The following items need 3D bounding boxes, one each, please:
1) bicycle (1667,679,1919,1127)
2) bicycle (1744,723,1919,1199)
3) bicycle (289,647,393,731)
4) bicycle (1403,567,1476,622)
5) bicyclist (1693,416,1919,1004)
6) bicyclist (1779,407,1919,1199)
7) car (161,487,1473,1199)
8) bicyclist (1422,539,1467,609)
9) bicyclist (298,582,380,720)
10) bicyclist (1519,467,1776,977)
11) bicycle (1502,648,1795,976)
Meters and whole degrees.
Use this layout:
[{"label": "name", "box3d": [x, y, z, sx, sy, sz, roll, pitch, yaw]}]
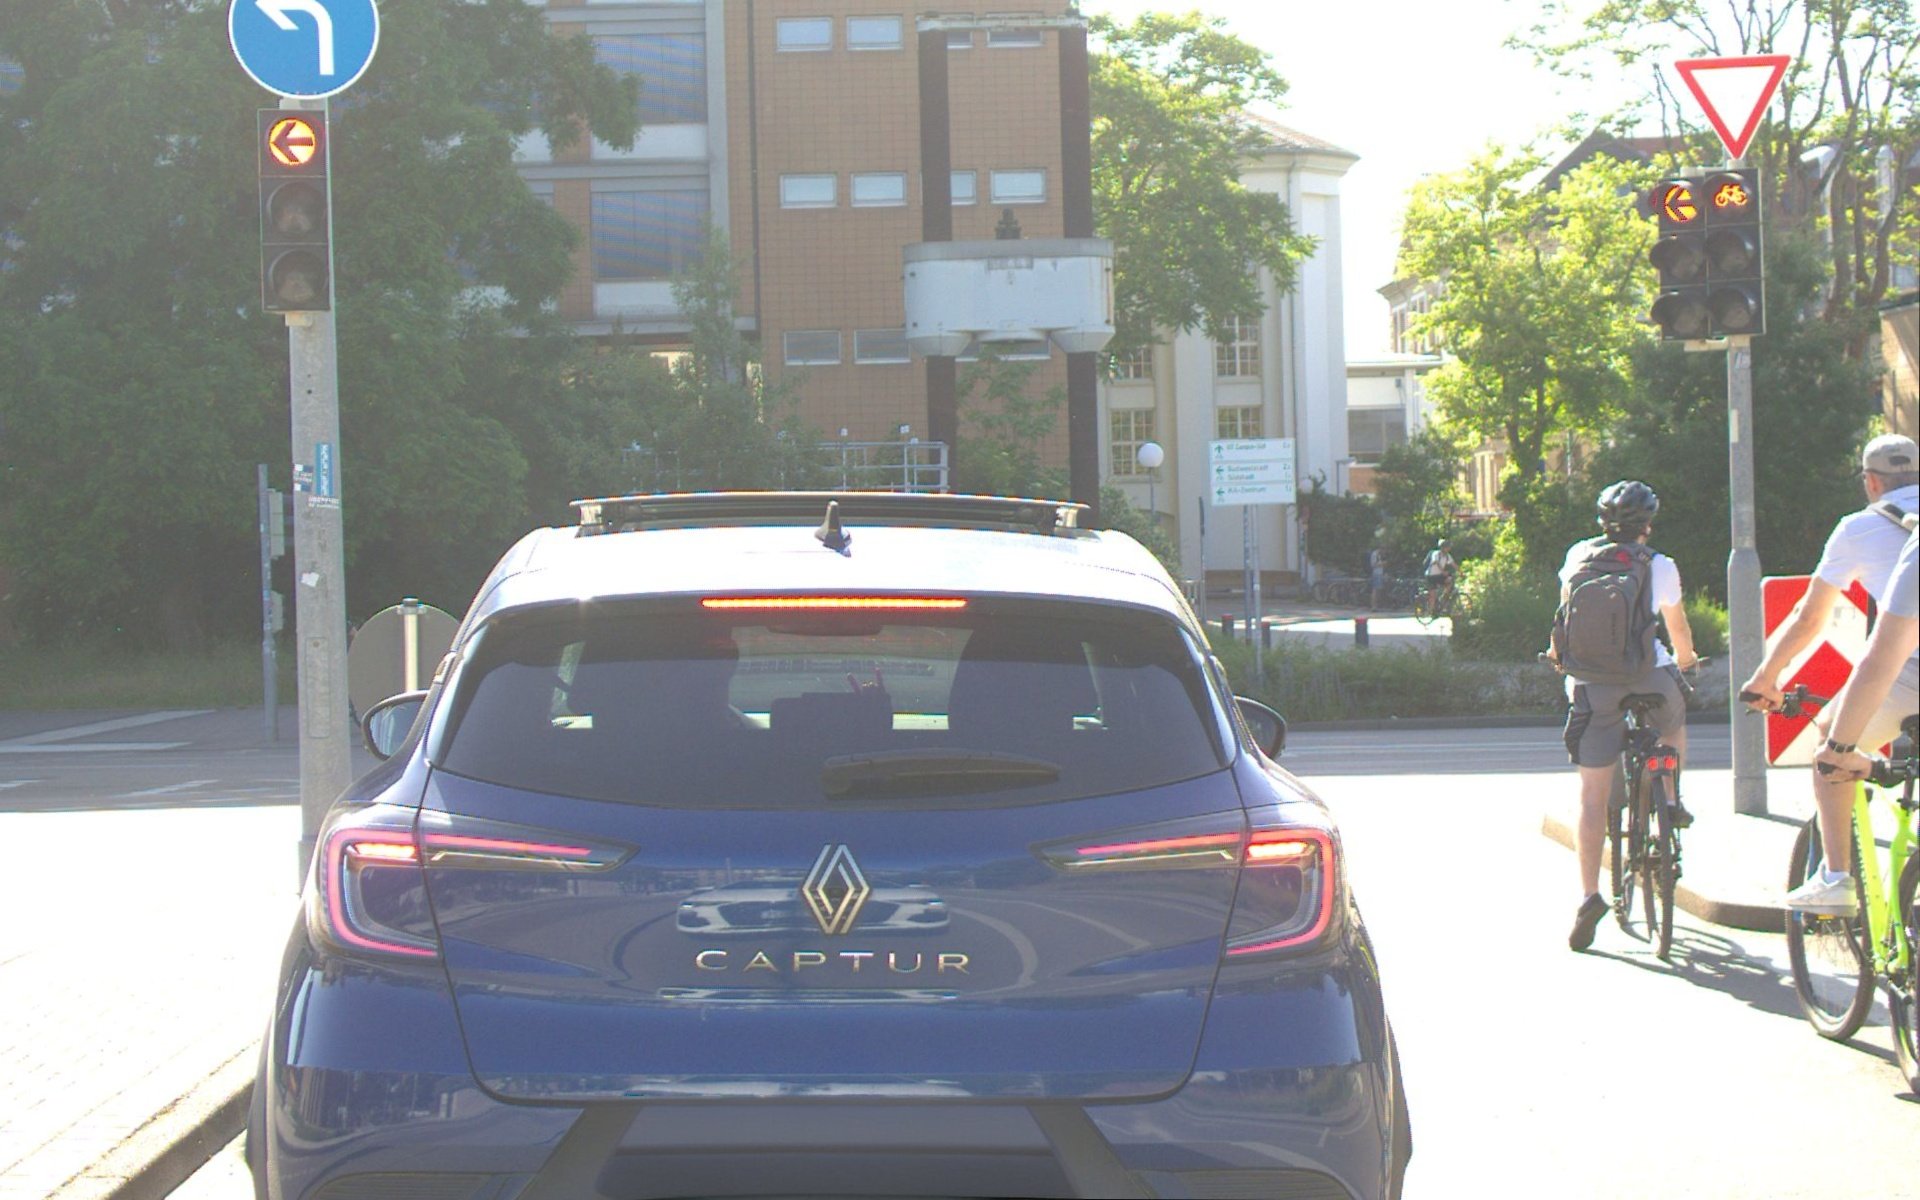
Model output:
[{"label": "bicycle", "box3d": [2.572, 0.802, 9.822, 0.689, 1.085, 1.922, 0, 1, -1]}, {"label": "bicycle", "box3d": [2.233, 0.848, 7.277, 0.689, 1.085, 1.922, 0, 1, -1]}, {"label": "bicycle", "box3d": [-7.888, 1.125, 43.908, 0.755, 0.981, 2.093, -1, 1, 5]}, {"label": "bicycle", "box3d": [10.186, -0.117, 73.121, 0.694, 1.136, 2.442, -1, 1, -13]}, {"label": "bicyclist", "box3d": [2.572, 0.291, 9.866, 0.678, 1.589, 1.142, 0, 1, -1]}, {"label": "bicyclist", "box3d": [2.232, 0.503, 7.340, 0.683, 1.785, 1.142, 0, 1, -1]}, {"label": "car", "box3d": [-0.272, 0.612, 6.651, 1.788, 1.580, 3.915, 0, 1, -2]}, {"label": "bicyclist", "box3d": [10.242, -0.551, 72.721, 0.694, 1.476, 0.717, -1, 1, -13]}, {"label": "bicyclist", "box3d": [-7.909, 0.637, 43.797, 0.755, 1.710, 0.998, -1, 1, 5]}, {"label": "bicyclist", "box3d": [2.501, 0.421, 12.611, 0.699, 1.785, 1.142, 0, 1, -1]}, {"label": "bicycle", "box3d": [2.534, 0.746, 12.852, 0.689, 1.085, 1.922, 0, 1, -1]}]
